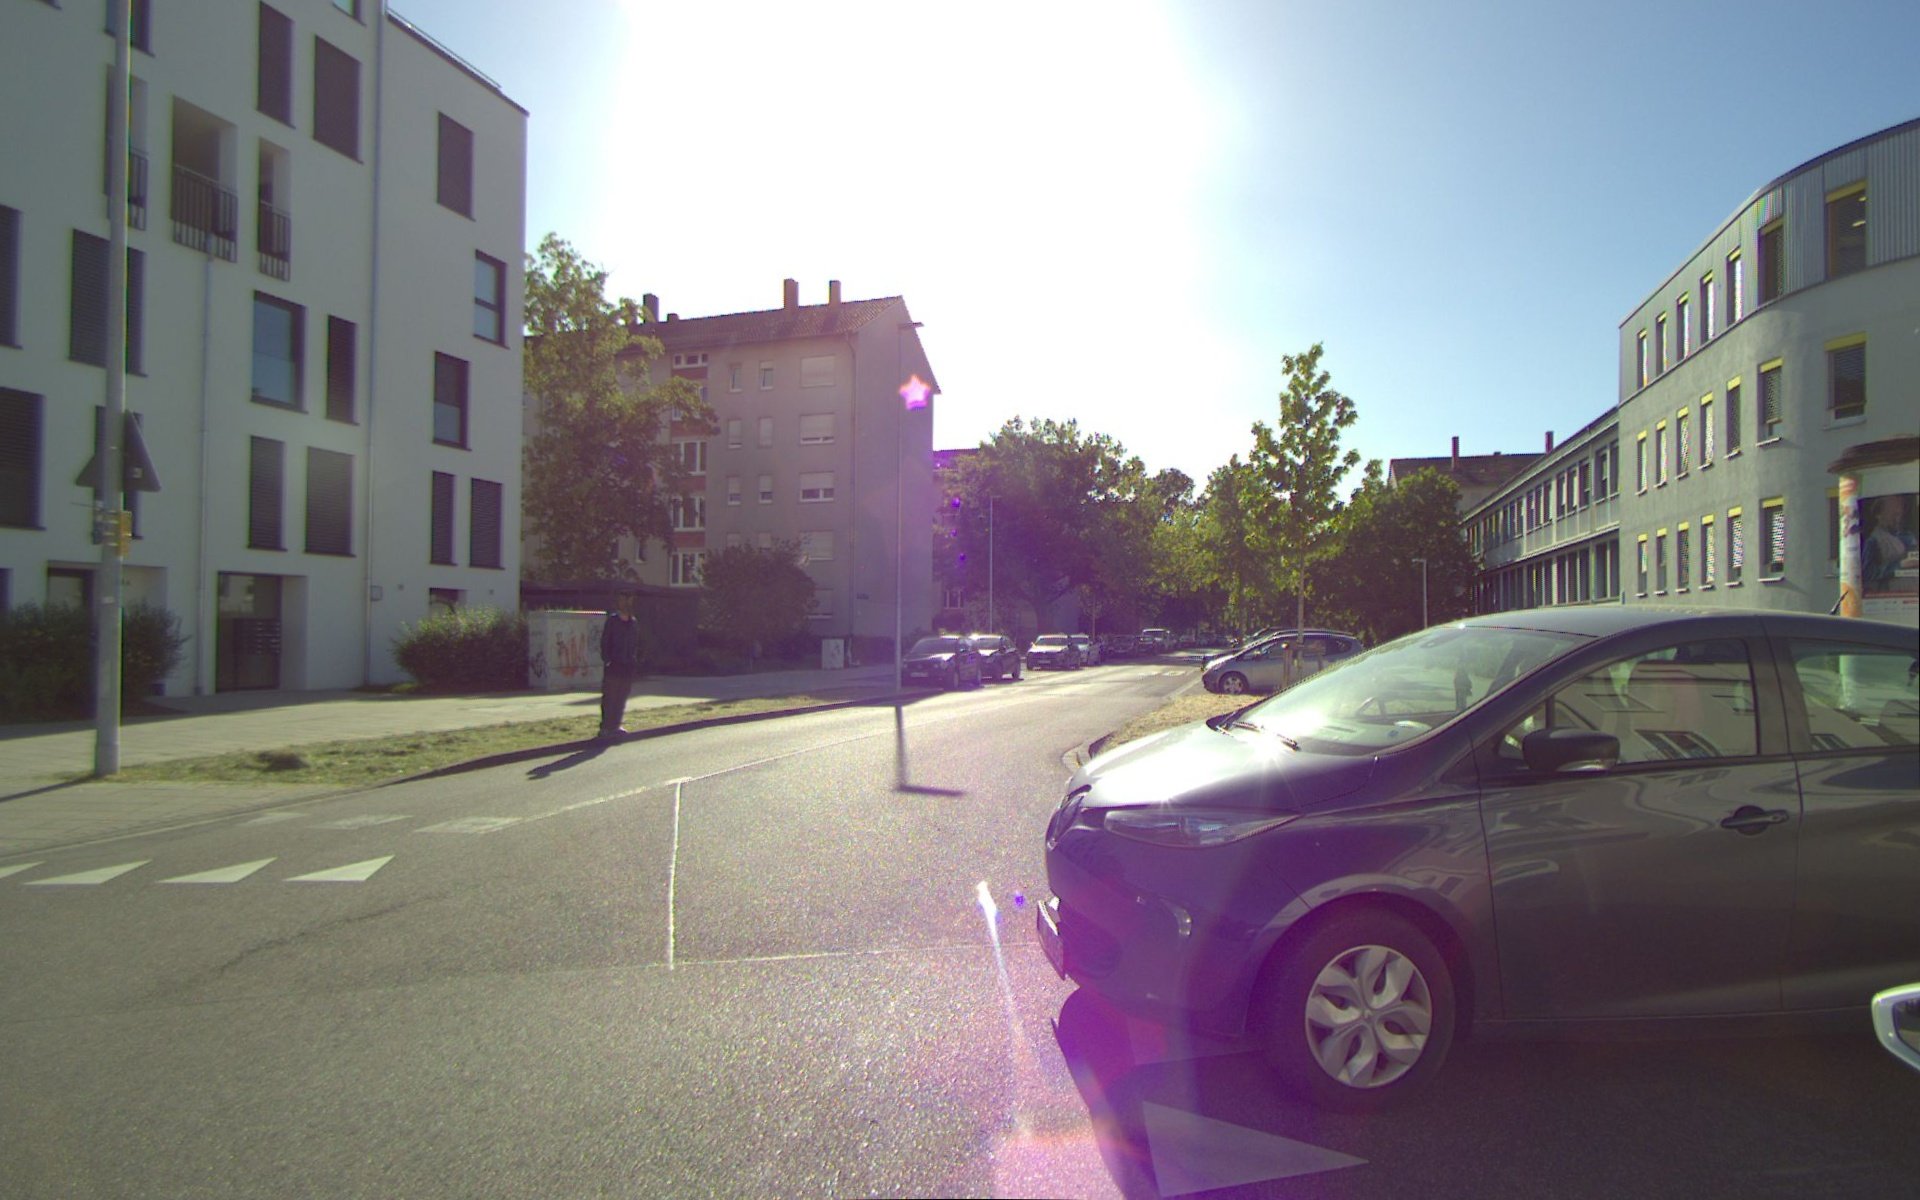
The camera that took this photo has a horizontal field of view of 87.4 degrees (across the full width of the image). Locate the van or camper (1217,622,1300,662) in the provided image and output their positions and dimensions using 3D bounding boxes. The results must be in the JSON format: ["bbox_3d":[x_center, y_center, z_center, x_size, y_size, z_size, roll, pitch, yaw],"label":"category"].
[{"bbox_3d":[15.265,2.147,51.401,3.920,1.795,2.001,2,-2,18],"label":"van or camper"}]

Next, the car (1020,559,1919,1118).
[{"bbox_3d":[2.420,0.744,3.929,4.061,1.524,1.841,2,-2,-7],"label":"car"}]

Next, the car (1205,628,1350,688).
[{"bbox_3d":[9.905,1.786,31.535,4.133,1.617,2.001,2,-2,16],"label":"car"}]

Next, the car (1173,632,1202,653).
[{"bbox_3d":[23.278,4.367,102.677,1.962,2.040,3.997,2,-2,26],"label":"car"}]

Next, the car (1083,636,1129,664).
[{"bbox_3d":[8.048,2.742,55.093,1.812,1.416,4.001,0,-2,19],"label":"car"}]

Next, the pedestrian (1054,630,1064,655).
[{"bbox_3d":[6.812,2.922,68.946,0.623,1.686,0.700,0,-1,12],"label":"pedestrian"}]

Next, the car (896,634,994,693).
[{"bbox_3d":[-0.343,1.748,28.280,1.639,1.438,4.002,2,-2,16],"label":"car"}]

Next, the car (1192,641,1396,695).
[{"bbox_3d":[8.410,1.702,25.689,4.787,1.291,1.730,0,-2,14],"label":"car"}]

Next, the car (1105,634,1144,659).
[{"bbox_3d":[10.377,2.914,63.333,1.960,1.426,3.910,2,-2,16],"label":"car"}]

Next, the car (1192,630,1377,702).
[{"bbox_3d":[7.593,1.519,23.816,4.019,1.511,1.730,1,-2,15],"label":"car"}]

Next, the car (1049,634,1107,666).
[{"bbox_3d":[5.706,2.377,48.050,1.960,1.416,4.001,0,-2,19],"label":"car"}]

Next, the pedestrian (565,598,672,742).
[{"bbox_3d":[-4.277,0.856,12.647,0.856,1.737,0.980,0,-2,14],"label":"pedestrian"}]

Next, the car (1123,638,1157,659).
[{"bbox_3d":[12.711,3.427,70.825,1.812,1.416,4.001,0,-2,19],"label":"car"}]

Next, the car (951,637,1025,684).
[{"bbox_3d":[0.968,1.929,32.740,1.382,1.394,4.001,0,-2,17],"label":"car"}]

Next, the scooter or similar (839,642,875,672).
[{"bbox_3d":[-3.804,2.103,37.273,0.522,1.060,1.870,0,-2,22],"label":"scooter or similar"}]

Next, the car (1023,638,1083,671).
[{"bbox_3d":[3.996,2.277,42.430,1.602,1.250,4.194,2,-2,18],"label":"car"}]

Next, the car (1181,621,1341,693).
[{"bbox_3d":[8.622,1.613,28.987,4.207,1.788,2.001,2,-2,16],"label":"car"}]

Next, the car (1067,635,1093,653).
[{"bbox_3d":[8.599,3.149,71.838,1.253,1.241,2.663,0,-2,20],"label":"car"}]

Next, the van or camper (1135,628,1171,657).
[{"bbox_3d":[14.734,3.259,76.622,1.961,2.040,4.001,2,-2,21],"label":"van or camper"}]
